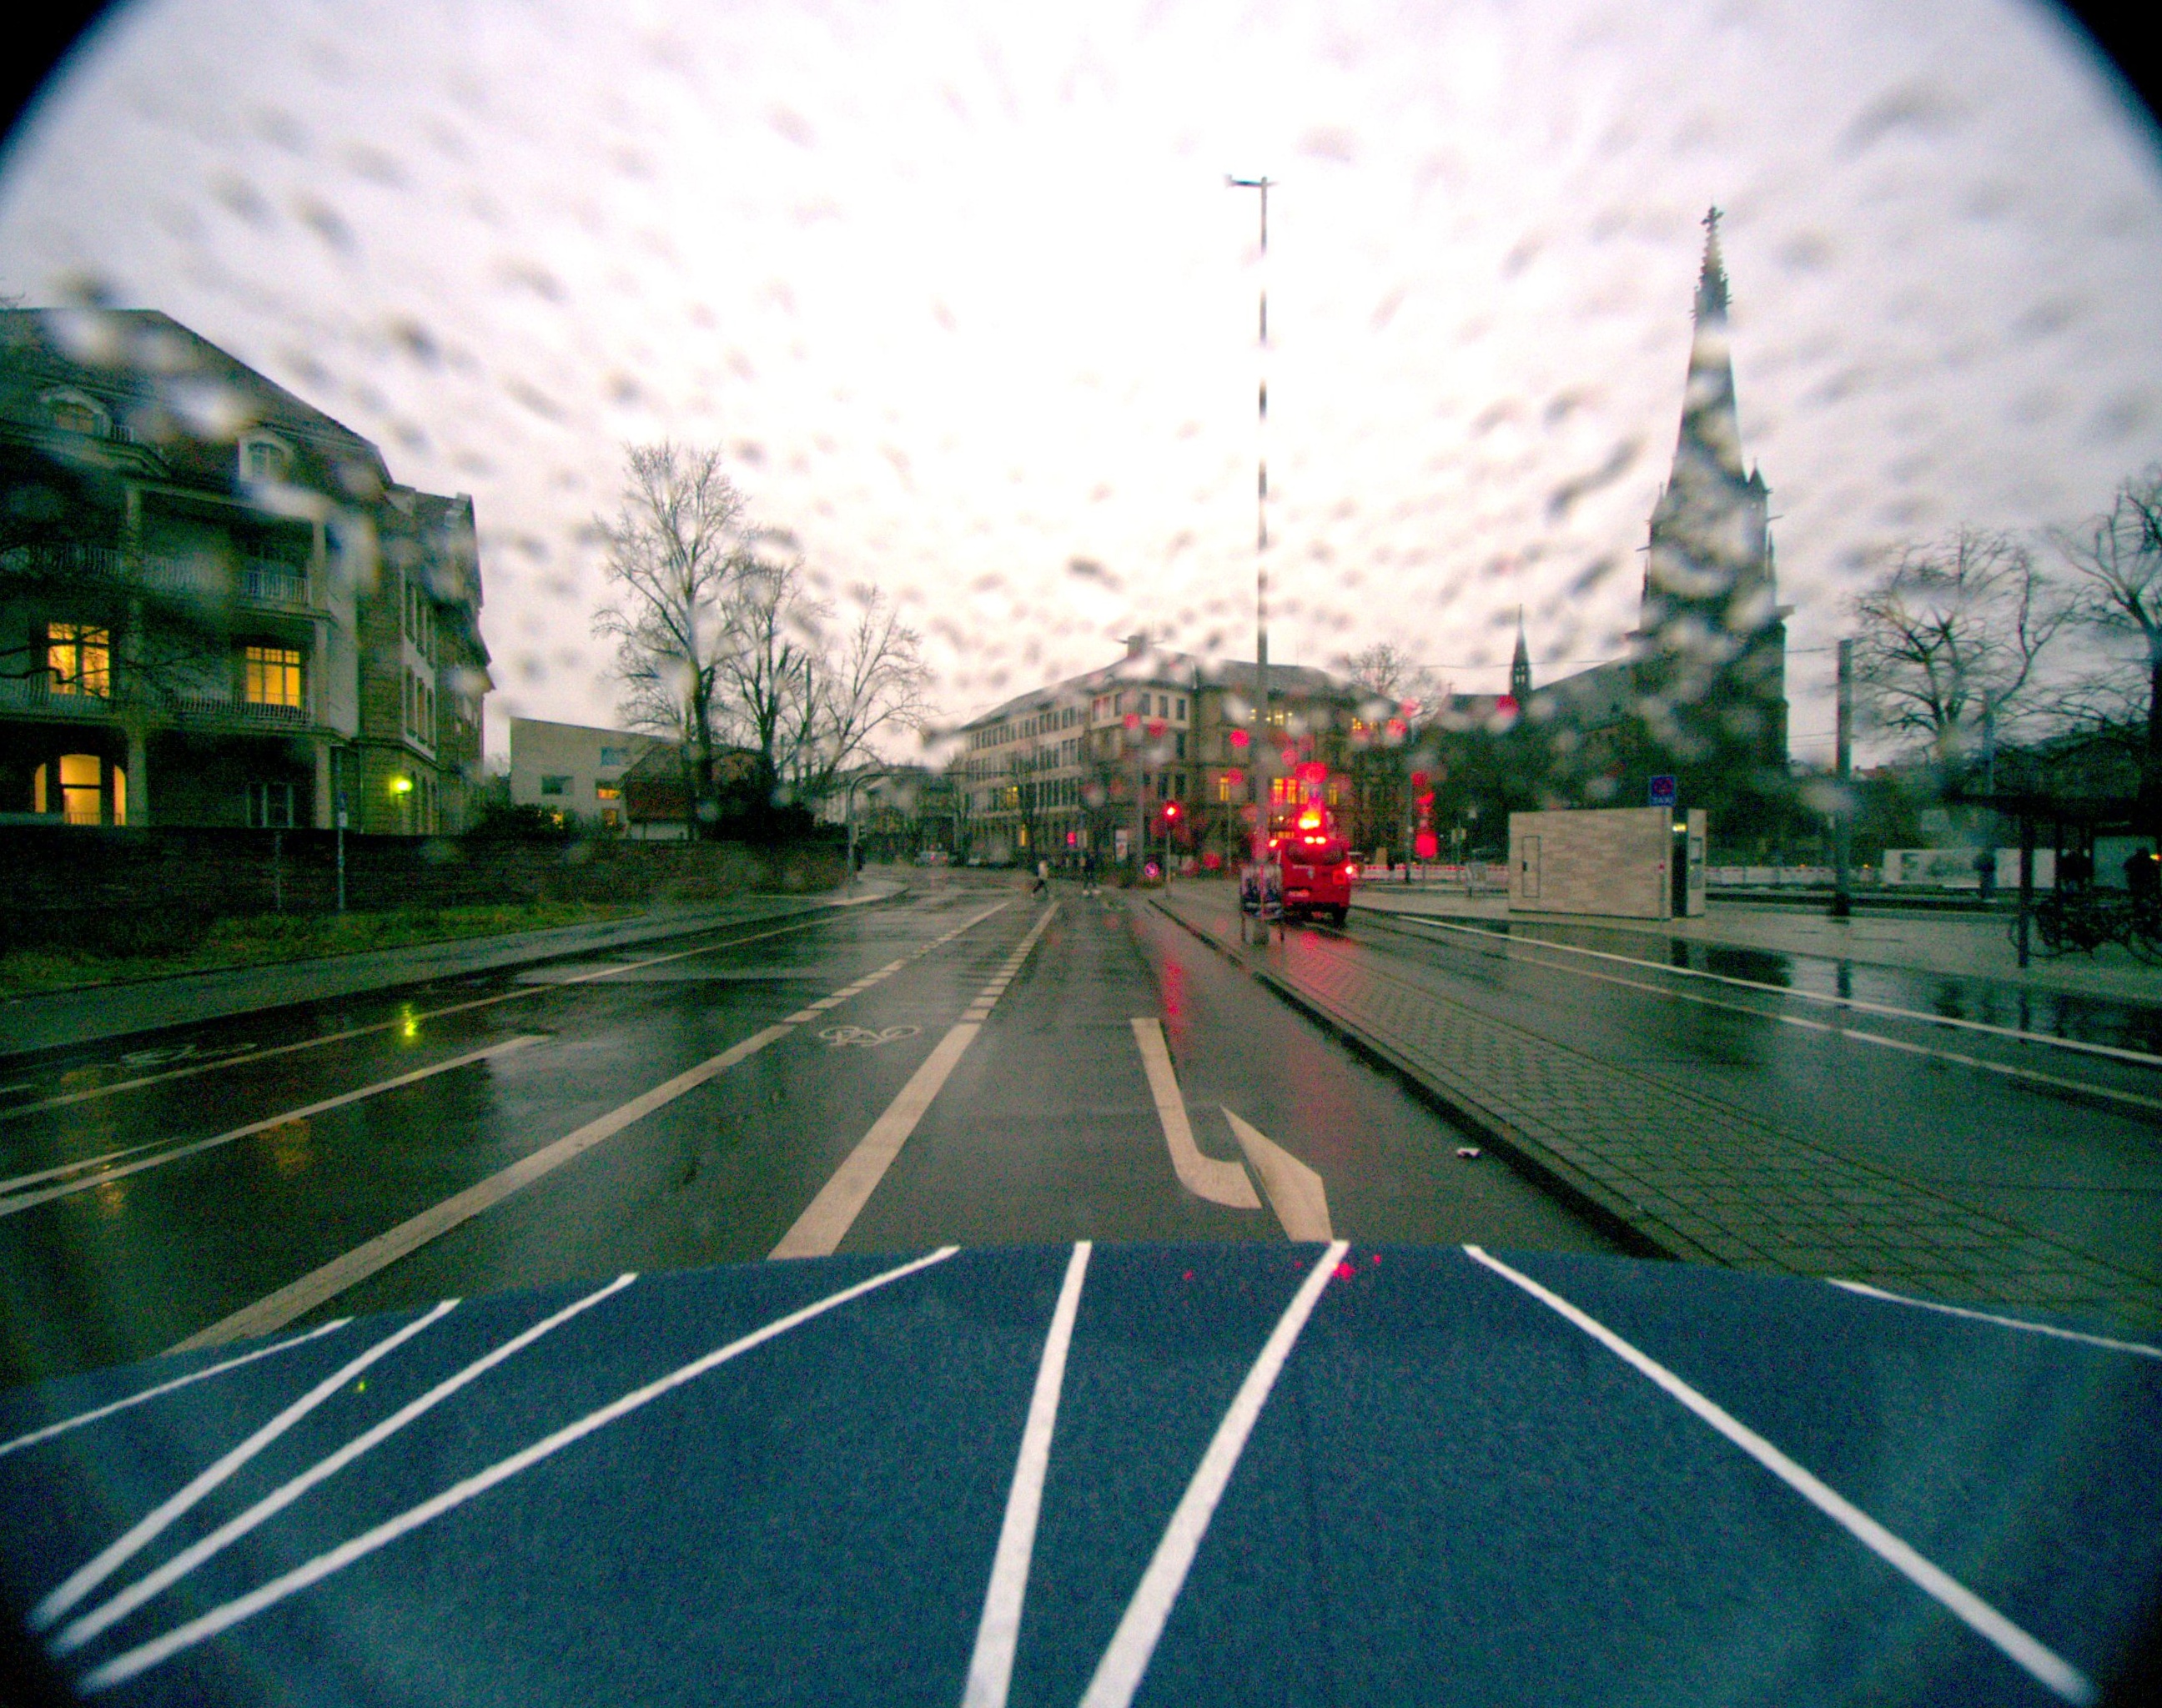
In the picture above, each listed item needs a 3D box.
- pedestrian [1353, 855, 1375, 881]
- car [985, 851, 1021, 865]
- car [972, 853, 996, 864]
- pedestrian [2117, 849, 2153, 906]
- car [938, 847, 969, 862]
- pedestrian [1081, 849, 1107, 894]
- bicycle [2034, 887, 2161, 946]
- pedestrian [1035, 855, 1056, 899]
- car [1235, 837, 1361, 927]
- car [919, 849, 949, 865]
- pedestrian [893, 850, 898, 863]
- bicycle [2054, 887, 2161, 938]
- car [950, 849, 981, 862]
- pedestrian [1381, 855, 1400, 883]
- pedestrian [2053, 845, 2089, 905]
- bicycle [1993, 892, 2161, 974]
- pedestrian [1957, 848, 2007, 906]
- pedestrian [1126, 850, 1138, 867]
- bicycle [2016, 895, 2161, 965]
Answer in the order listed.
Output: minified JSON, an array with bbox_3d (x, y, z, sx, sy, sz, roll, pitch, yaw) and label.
[{"bbox_3d":[18.832,0.907,50.542,0.774,1.651,1.206,-3,1,-19],"label":"pedestrian"},{"bbox_3d":[-9.279,0.481,90.536,1.797,1.541,4.007,-1,1,45],"label":"car"},{"bbox_3d":[-12.134,0.575,95.307,1.706,1.298,3.647,-2,1,16],"label":"car"},{"bbox_3d":[31.049,0.692,22.386,0.541,1.642,0.562,-3,2,-41],"label":"pedestrian"},{"bbox_3d":[-16.995,0.076,101.471,2.043,1.889,4.007,-2,1,28],"label":"car"},{"bbox_3d":[0.570,0.753,32.946,1.000,1.890,0.673,1,1,-10],"label":"pedestrian"},{"bbox_3d":[19.692,1.169,14.427,0.475,0.980,1.921,-2,2,-30],"label":"bicycle"},{"bbox_3d":[-1.432,0.910,30.531,0.799,1.713,0.674,1,1,-6],"label":"pedestrian"},{"bbox_3d":[5.498,0.656,19.932,1.929,2.058,4.643,1,0,0],"label":"car"},{"bbox_3d":[-18.190,0.366,94.029,1.887,1.835,3.989,-3,1,-40],"label":"car"},{"bbox_3d":[-28.063,0.421,115.012,0.548,2.002,0.473,0,1,-40],"label":"pedestrian"},{"bbox_3d":[20.848,1.161,15.017,0.475,0.905,1.921,-2,2,-30],"label":"bicycle"},{"bbox_3d":[-15.090,0.200,99.406,1.797,1.541,4.007,-2,1,28],"label":"car"},{"bbox_3d":[20.821,0.993,51.072,0.675,1.890,0.971,0,2,-42],"label":"pedestrian"},{"bbox_3d":[30.236,0.642,23.215,0.673,1.785,0.626,-3,2,-41],"label":"pedestrian"},{"bbox_3d":[15.499,1.180,11.611,0.475,1.064,1.921,-2,2,-30],"label":"bicycle"},{"bbox_3d":[28.328,0.708,23.898,0.670,1.785,0.825,-3,1,-21],"label":"pedestrian"},{"bbox_3d":[5.115,0.441,76.052,0.829,1.714,0.926,0,0,-37],"label":"pedestrian"},{"bbox_3d":[16.617,1.214,12.216,0.475,0.980,1.921,-2,2,-30],"label":"bicycle"}]
